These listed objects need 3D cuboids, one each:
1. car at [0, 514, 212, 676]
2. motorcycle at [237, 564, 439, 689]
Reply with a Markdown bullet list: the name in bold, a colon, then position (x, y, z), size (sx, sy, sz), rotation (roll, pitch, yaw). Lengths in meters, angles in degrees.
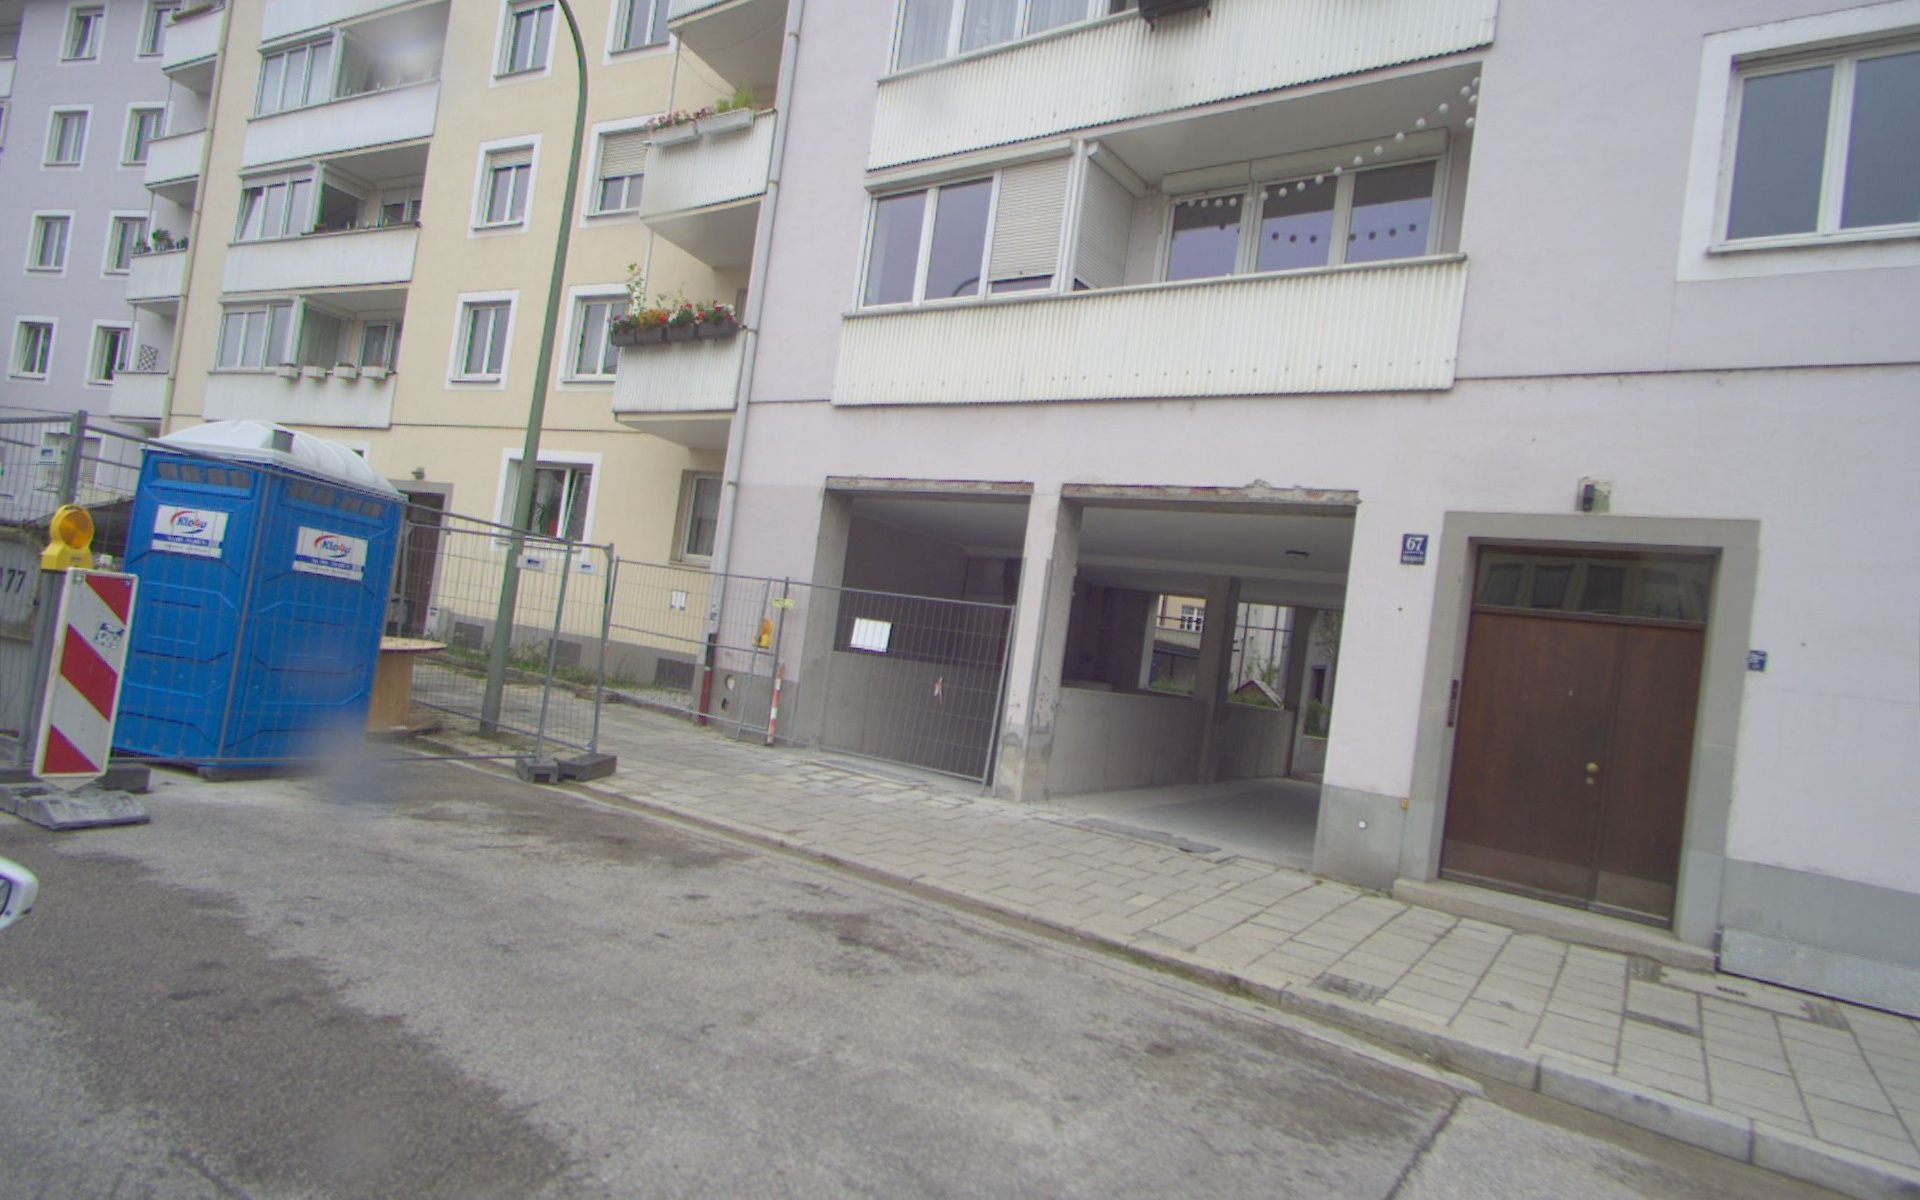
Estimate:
- **car**: position (-10.585, -0.206, 11.202), size (4.206, 1.454, 1.787), rotation (7, -3, 27)
- **motorcycle**: position (-8.004, 0.325, 12.929), size (2.463, 1.234, 0.935), rotation (7, -2, 27)
